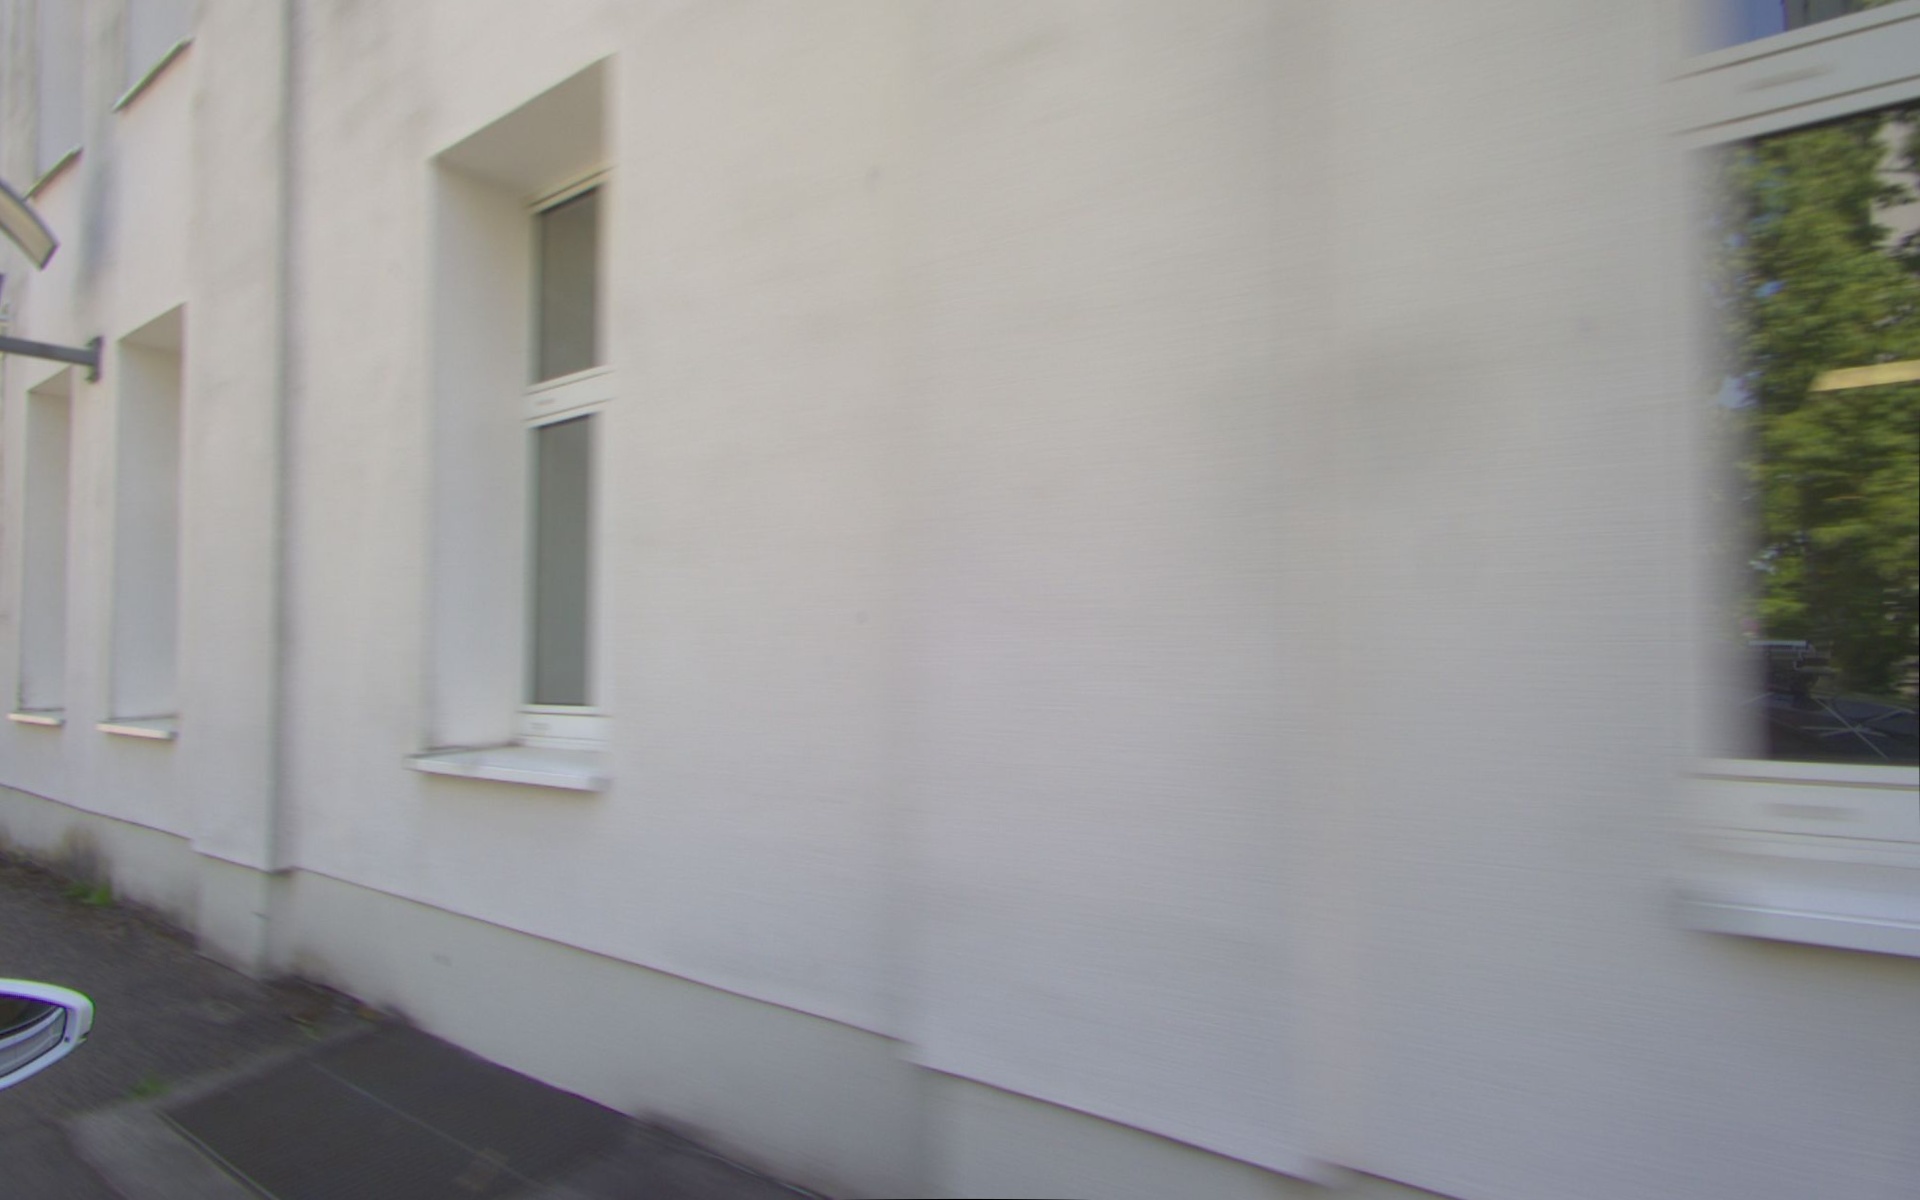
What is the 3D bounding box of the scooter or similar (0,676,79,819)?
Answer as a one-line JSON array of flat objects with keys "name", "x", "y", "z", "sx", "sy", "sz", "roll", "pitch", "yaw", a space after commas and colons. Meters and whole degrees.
[{"name": "scooter or similar", "x": -8.468, "y": 1.274, "z": 8.832, "sx": 1.234, "sy": 1.188, "sz": 0.464, "roll": -1, "pitch": -3, "yaw": 18}]
